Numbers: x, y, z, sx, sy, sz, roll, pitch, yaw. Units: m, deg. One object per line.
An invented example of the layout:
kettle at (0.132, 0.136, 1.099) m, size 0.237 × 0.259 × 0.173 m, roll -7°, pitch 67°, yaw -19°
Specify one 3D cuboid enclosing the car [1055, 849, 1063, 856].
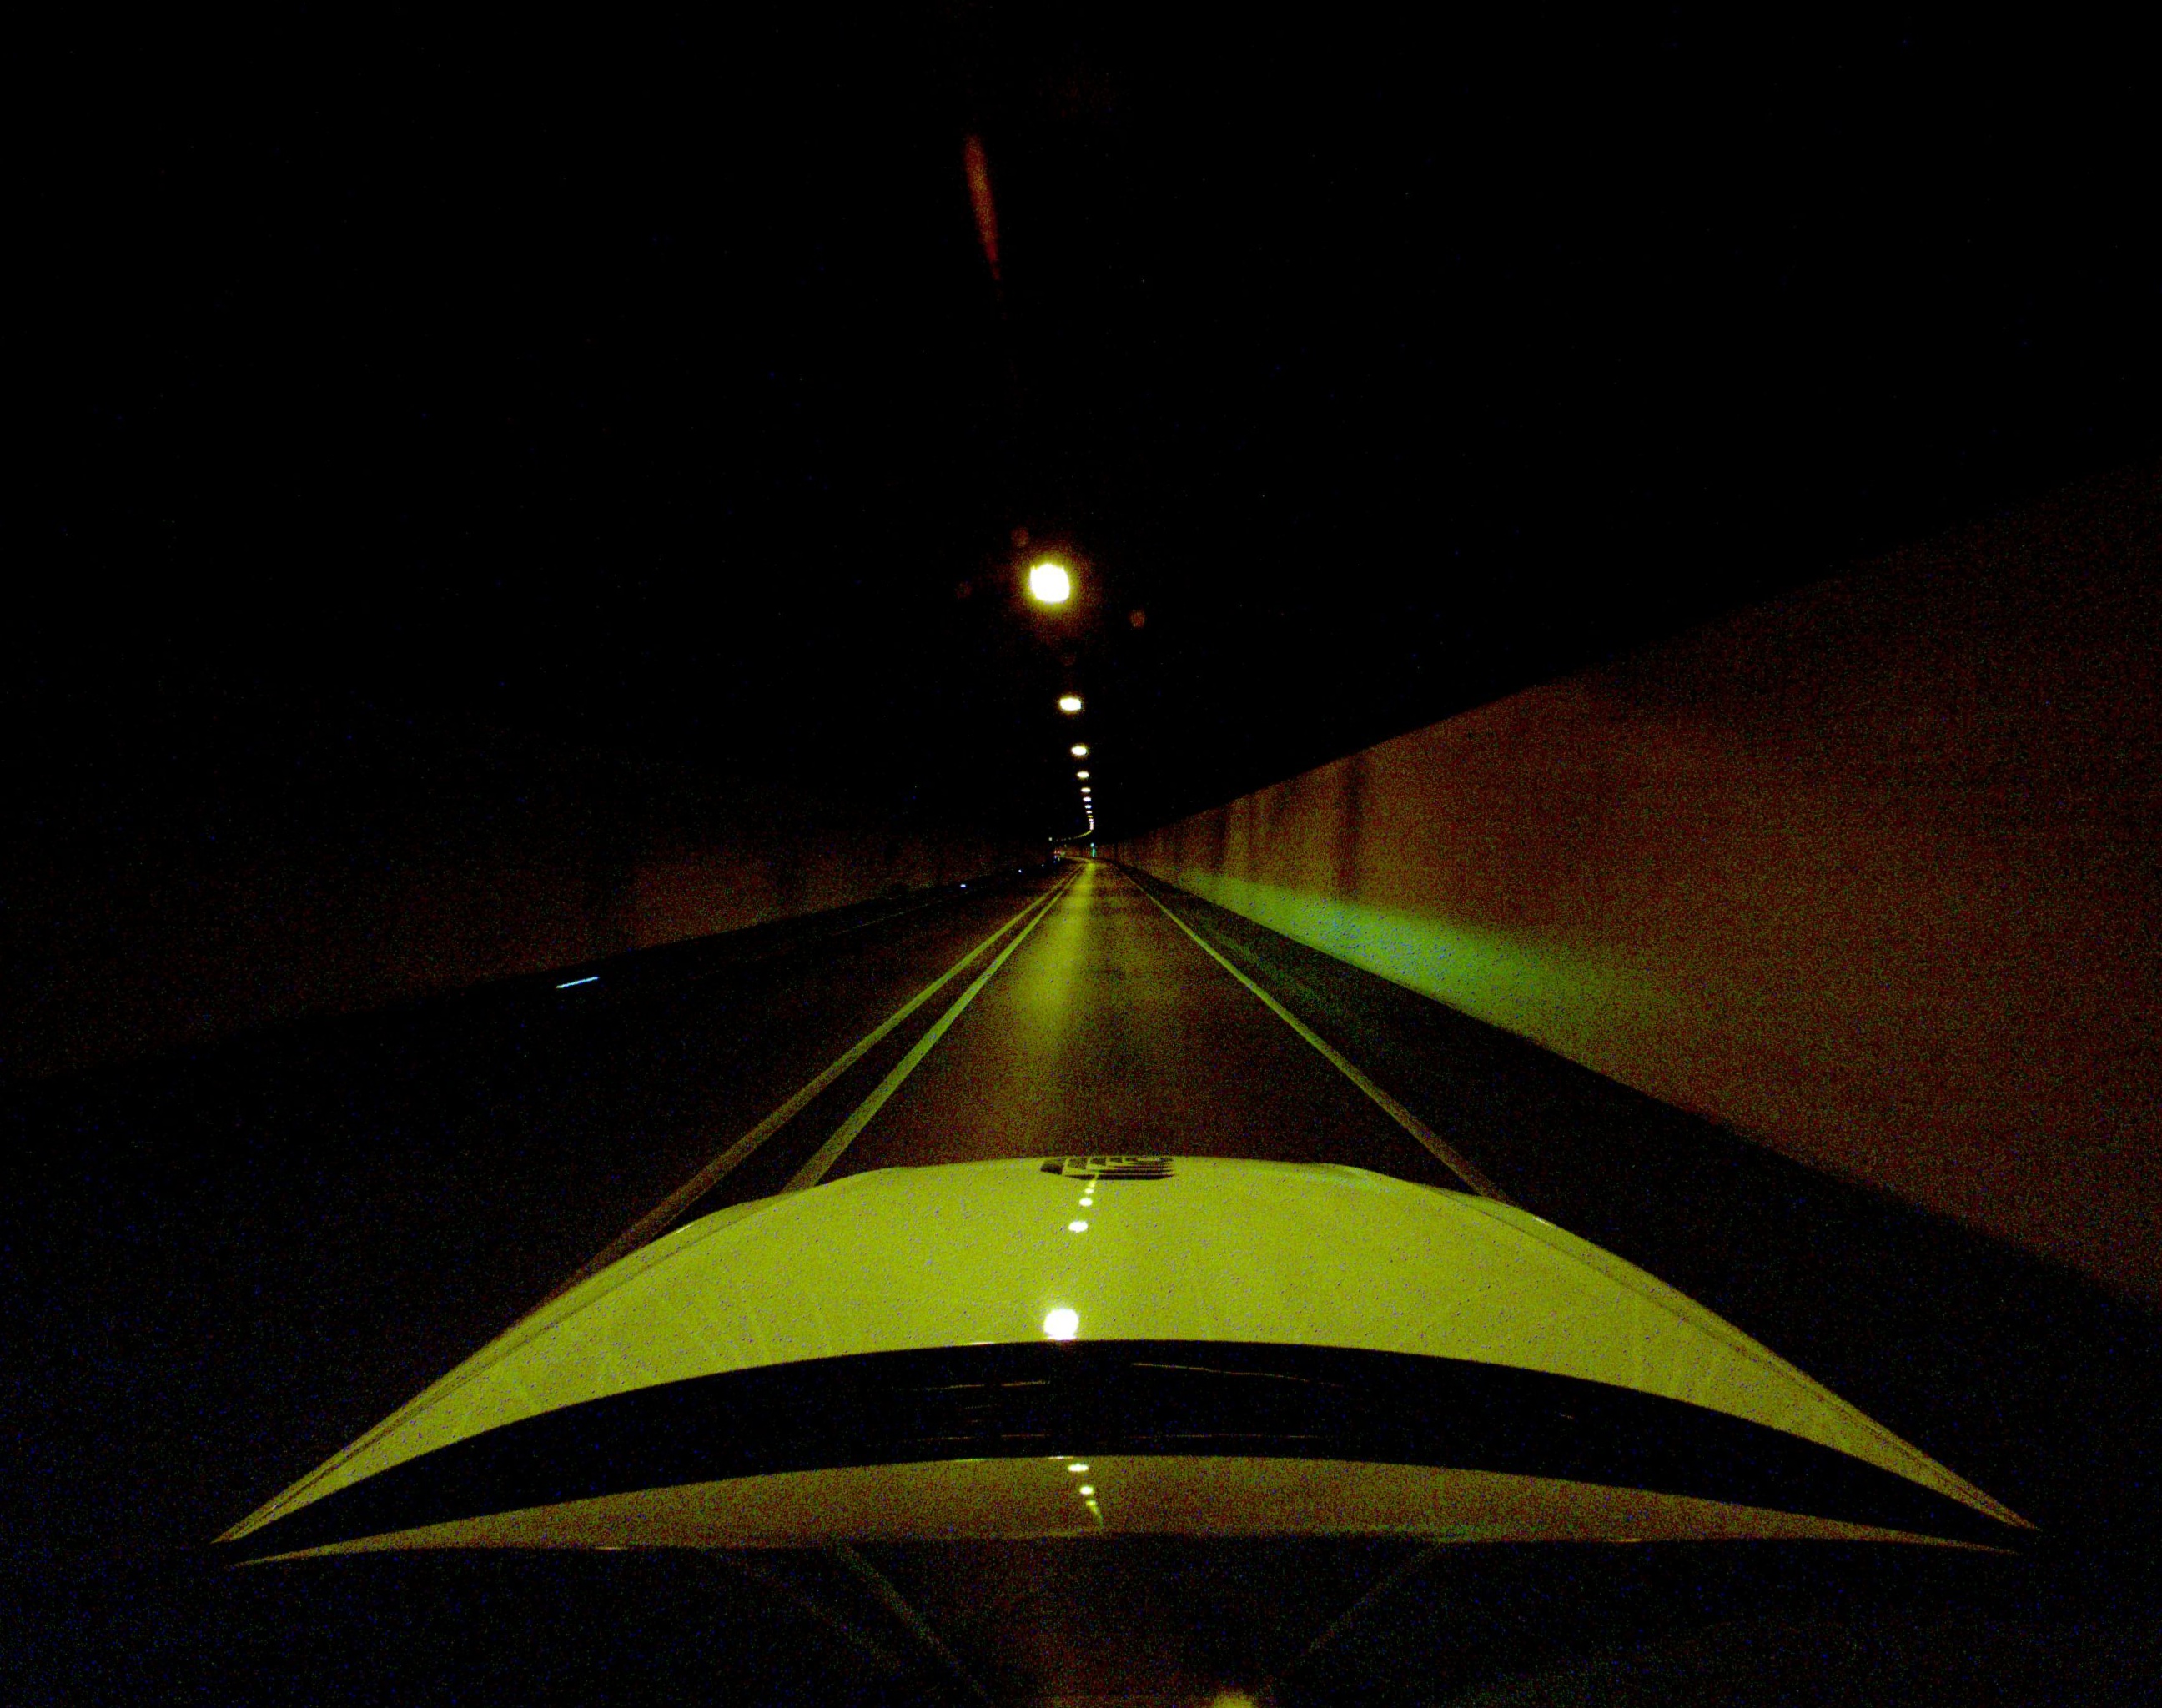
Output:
car at (-6.910, -0.477, 254.745) m, size 1.964 × 1.939 × 4.603 m, roll 1°, pitch -1°, yaw -5°
